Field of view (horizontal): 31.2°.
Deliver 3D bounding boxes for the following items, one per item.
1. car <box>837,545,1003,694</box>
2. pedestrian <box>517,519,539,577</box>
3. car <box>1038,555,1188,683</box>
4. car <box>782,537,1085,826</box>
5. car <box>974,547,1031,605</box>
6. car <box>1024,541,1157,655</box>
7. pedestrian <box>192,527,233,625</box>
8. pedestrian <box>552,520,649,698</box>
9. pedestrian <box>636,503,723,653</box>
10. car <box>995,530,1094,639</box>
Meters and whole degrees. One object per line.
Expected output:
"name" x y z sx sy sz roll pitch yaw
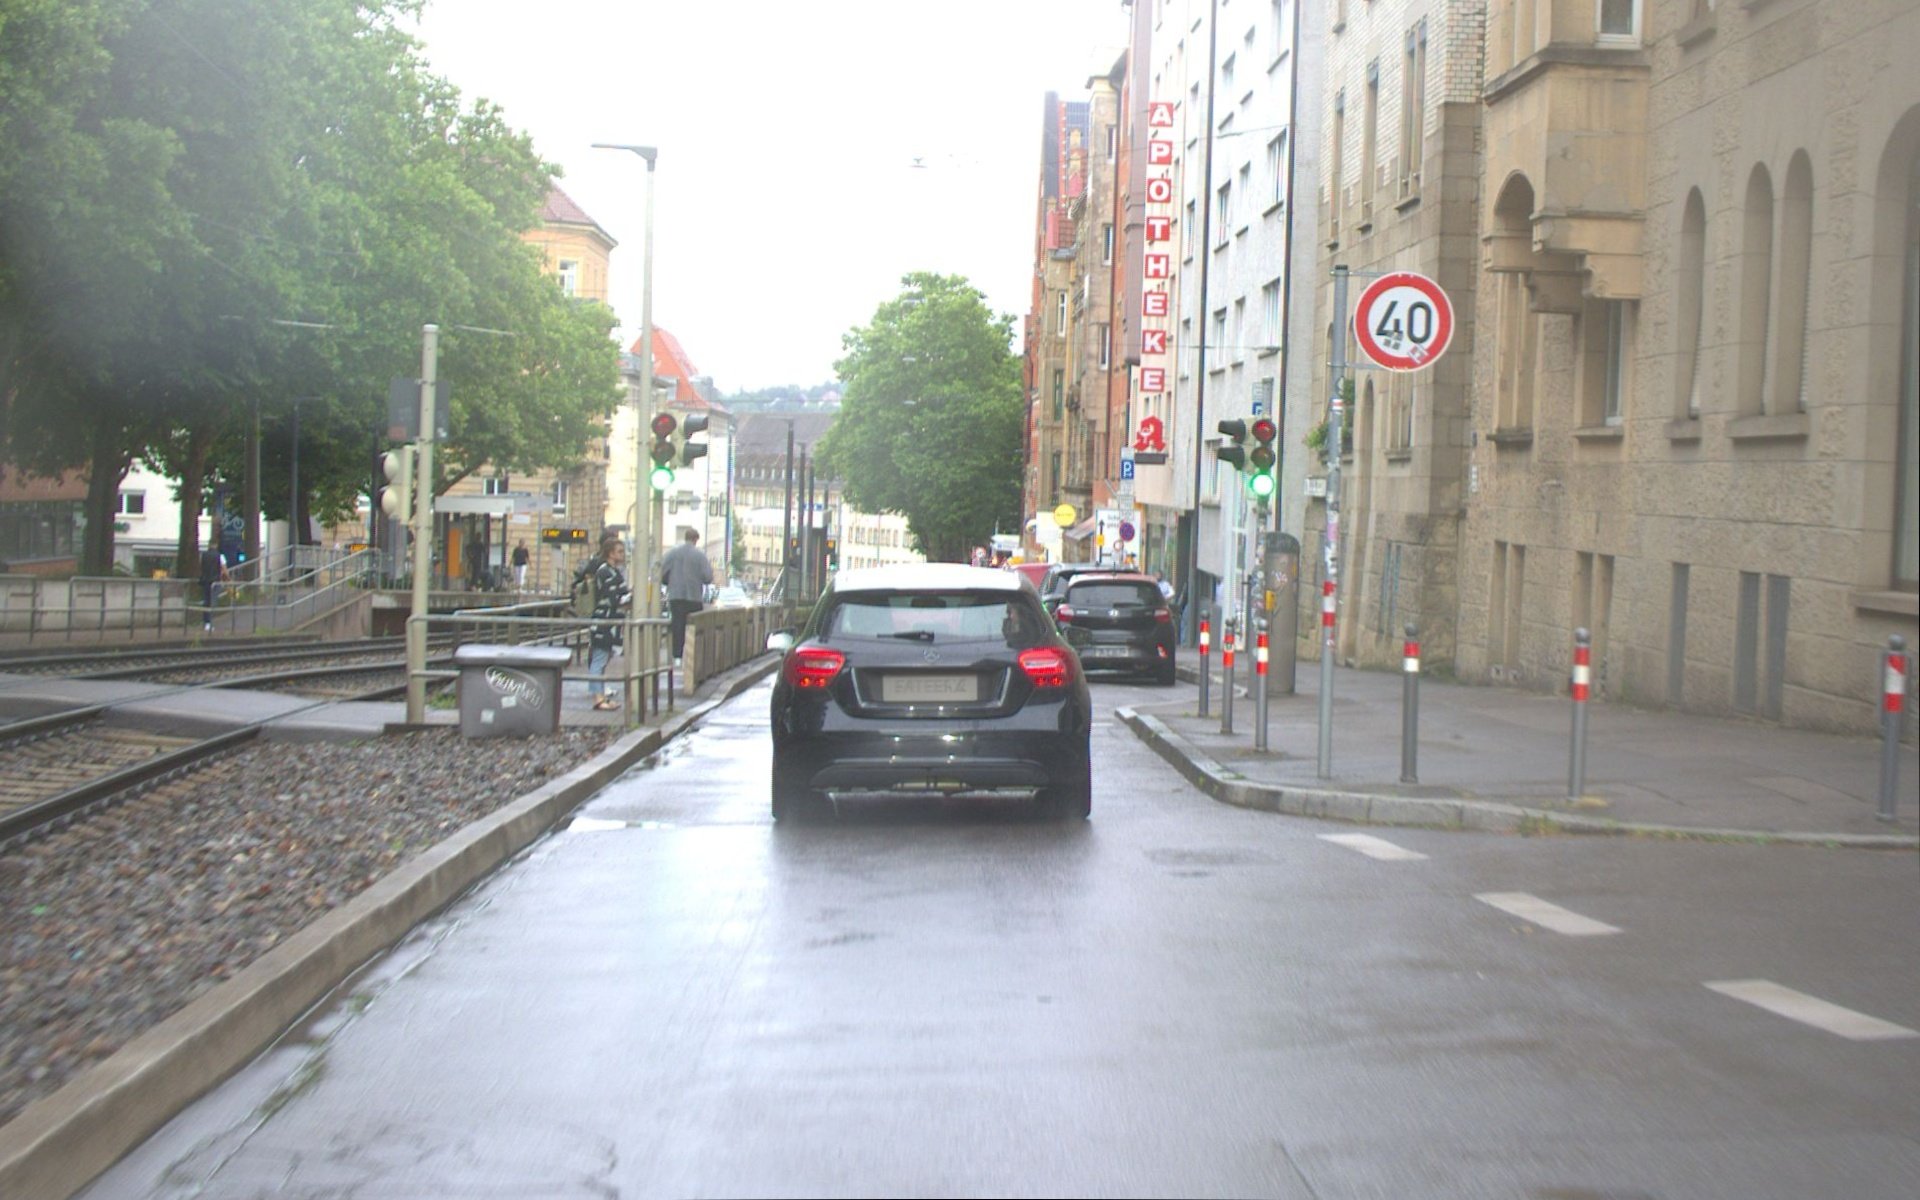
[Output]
"car" -0.466 0.181 39.457 1.785 1.575 4.000 1 1 -1
"pedestrian" -12.978 -1.565 103.348 0.518 1.711 0.551 3 1 -1
"car" 2.059 0.221 47.187 1.827 1.612 3.864 0 2 -1
"car" -0.181 0.400 20.028 1.580 1.499 3.575 1 1 -1
"car" 1.503 -0.885 123.723 1.993 2.007 4.000 0 2 0
"car" 1.914 -0.060 51.323 1.759 1.573 4.001 0 2 -1
"pedestrian" -13.564 -0.439 62.366 0.534 1.748 0.607 3 1 0
"pedestrian" -3.340 0.071 32.021 0.806 1.628 0.892 0 1 0
"pedestrian" -3.783 -0.313 46.425 1.137 1.991 1.173 0 1 -5
"car" 1.611 -0.328 66.733 1.759 2.007 4.001 0 2 -1
